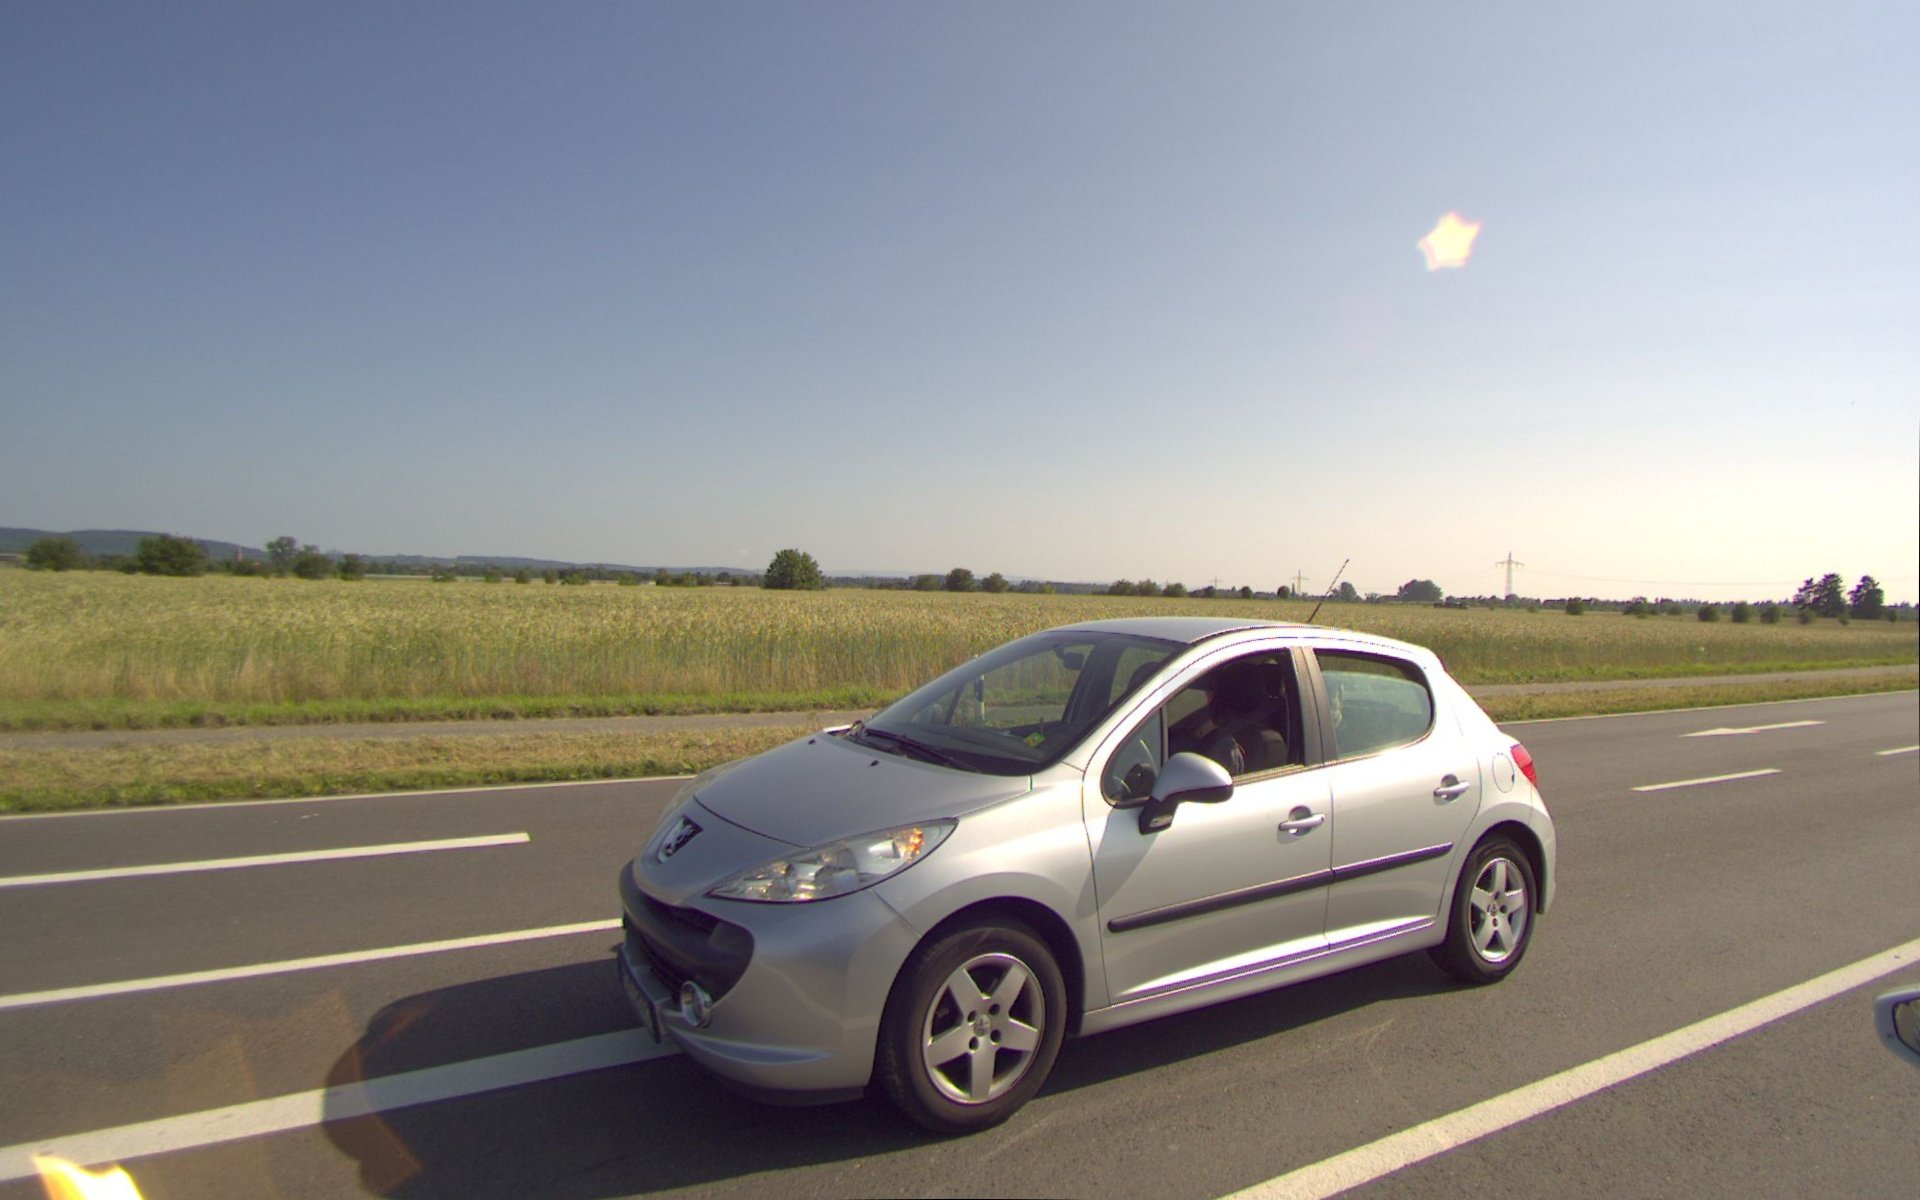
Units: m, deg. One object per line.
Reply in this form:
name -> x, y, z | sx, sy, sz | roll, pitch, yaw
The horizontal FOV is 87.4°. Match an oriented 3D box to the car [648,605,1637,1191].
car -> 0.915, 0.783, 4.198 | 3.954, 1.422, 1.678 | 2, -1, -31
